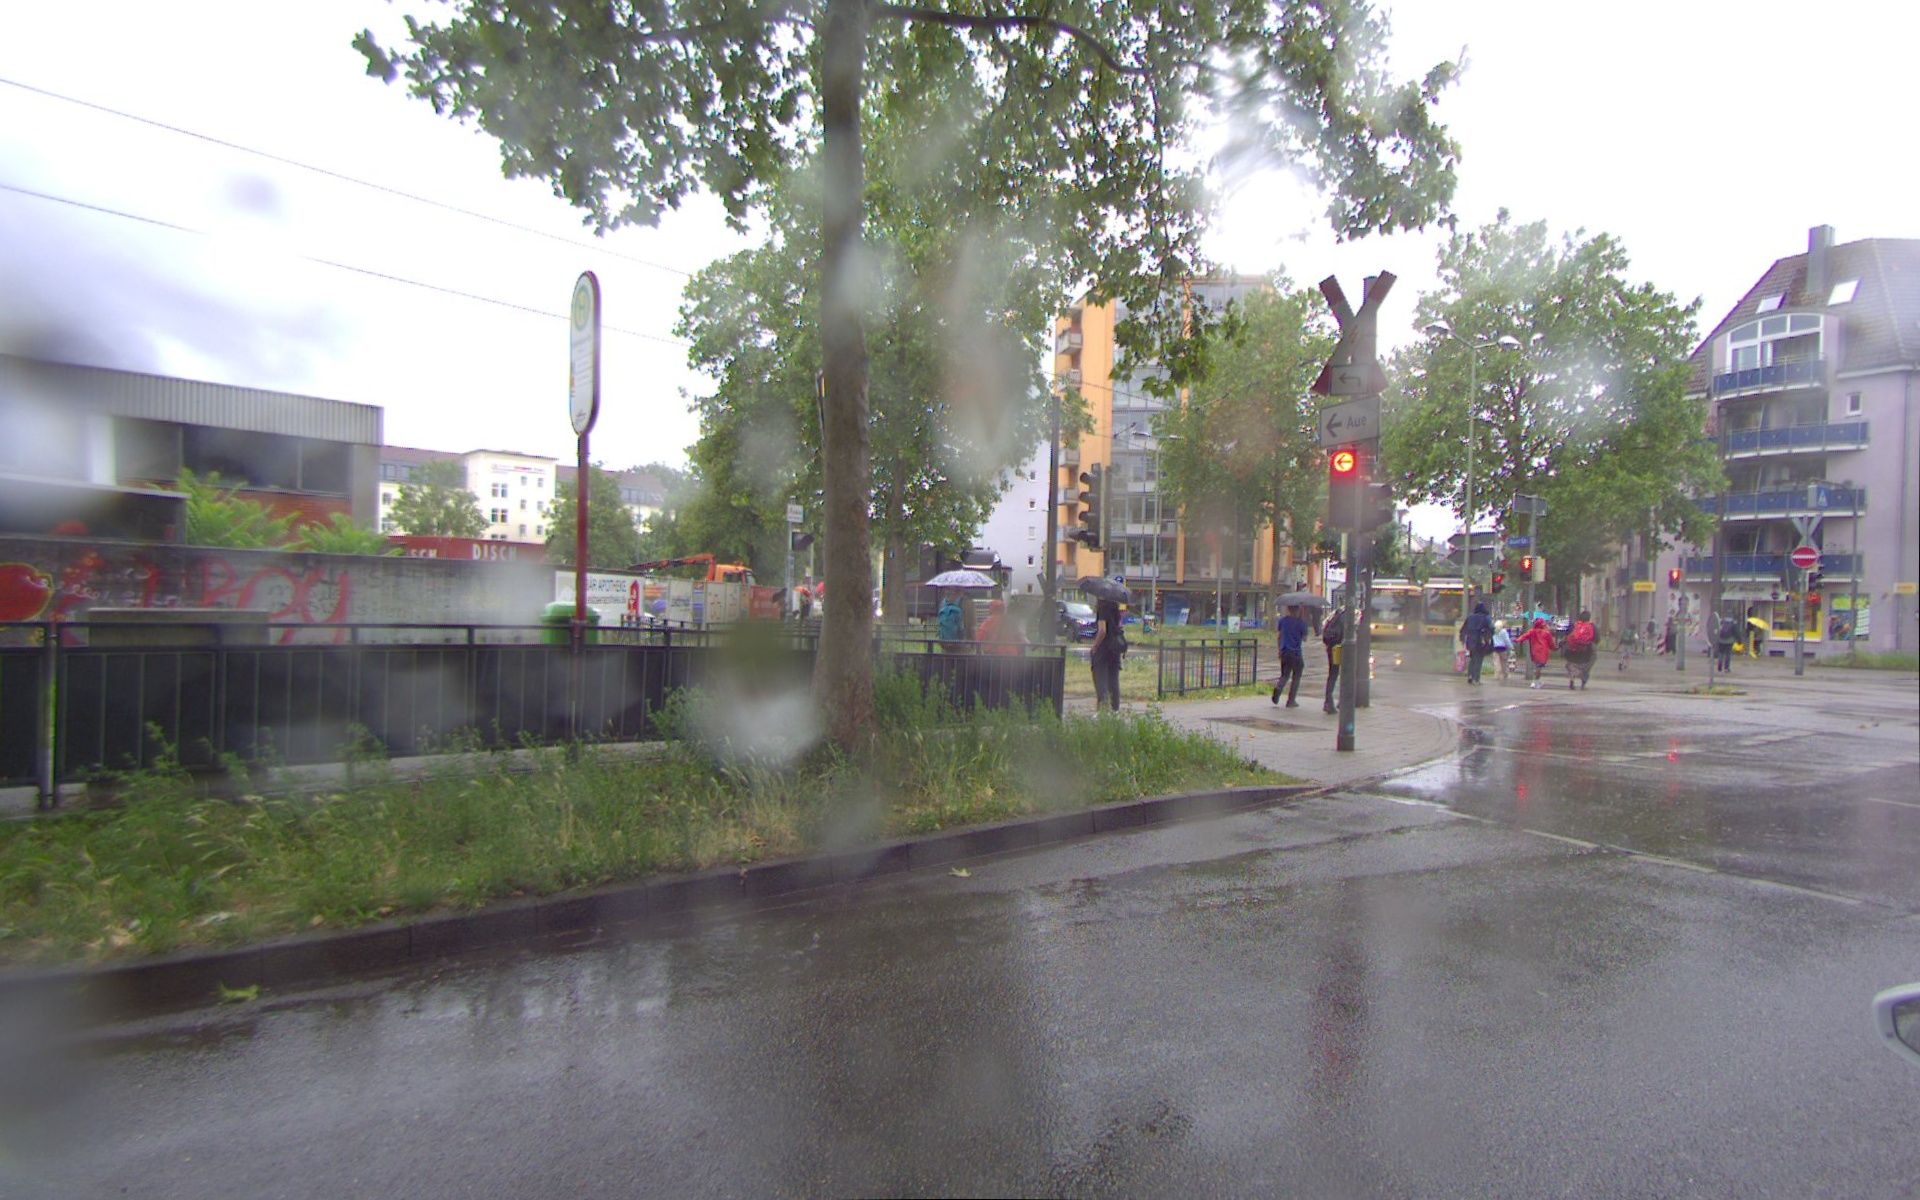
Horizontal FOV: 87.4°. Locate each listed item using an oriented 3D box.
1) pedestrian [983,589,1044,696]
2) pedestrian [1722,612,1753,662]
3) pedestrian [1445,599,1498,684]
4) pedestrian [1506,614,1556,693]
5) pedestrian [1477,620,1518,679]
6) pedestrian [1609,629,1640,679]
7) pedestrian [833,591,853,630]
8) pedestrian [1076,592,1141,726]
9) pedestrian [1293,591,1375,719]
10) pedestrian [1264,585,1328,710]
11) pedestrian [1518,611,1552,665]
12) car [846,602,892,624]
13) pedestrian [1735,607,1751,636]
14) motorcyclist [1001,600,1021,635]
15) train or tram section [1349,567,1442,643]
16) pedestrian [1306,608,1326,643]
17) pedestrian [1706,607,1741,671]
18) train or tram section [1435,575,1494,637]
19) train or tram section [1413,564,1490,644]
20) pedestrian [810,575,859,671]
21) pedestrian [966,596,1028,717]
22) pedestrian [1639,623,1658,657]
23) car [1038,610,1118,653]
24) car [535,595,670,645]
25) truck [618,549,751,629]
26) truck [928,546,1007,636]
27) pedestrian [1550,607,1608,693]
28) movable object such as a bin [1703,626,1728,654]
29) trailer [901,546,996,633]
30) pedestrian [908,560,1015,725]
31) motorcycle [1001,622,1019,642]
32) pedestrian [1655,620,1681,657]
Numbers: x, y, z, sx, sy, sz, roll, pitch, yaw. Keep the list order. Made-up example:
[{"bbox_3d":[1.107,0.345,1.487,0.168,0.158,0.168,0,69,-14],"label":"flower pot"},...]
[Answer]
[{"bbox_3d":[0.906,0.702,16.949,0.675,1.752,0.752,2,1,42],"label":"pedestrian"},{"bbox_3d":[34.592,1.637,44.695,0.879,2.179,0.901,2,0,-39],"label":"pedestrian"},{"bbox_3d":[10.600,0.854,20.851,0.823,1.721,0.689,-2,0,17],"label":"pedestrian"},{"bbox_3d":[11.495,1.060,20.227,0.653,1.540,0.676,1,0,-38],"label":"pedestrian"},{"bbox_3d":[12.866,1.176,24.029,0.704,1.367,0.650,1,1,-44],"label":"pedestrian"},{"bbox_3d":[19.445,1.579,29.415,0.638,1.414,0.782,1,0,26],"label":"pedestrian"},{"bbox_3d":[-5.853,0.534,50.234,0.765,1.891,0.940,2,0,4],"label":"pedestrian"},{"bbox_3d":[1.961,0.768,13.274,0.782,1.705,0.660,-2,0,8],"label":"pedestrian"},{"bbox_3d":[5.439,0.769,14.606,0.855,1.778,0.826,2,1,41],"label":"pedestrian"},{"bbox_3d":[5.249,0.720,15.756,0.854,1.889,0.892,1,0,16],"label":"pedestrian"},{"bbox_3d":[19.778,1.286,34.534,0.943,1.789,0.951,2,0,31],"label":"pedestrian"},{"bbox_3d":[-8.256,1.167,90.936,3.930,1.808,1.996,2,0,-12],"label":"car"},{"bbox_3d":[36.897,0.998,47.337,0.553,1.347,0.443,2,0,40],"label":"pedestrian"},{"bbox_3d":[2.405,0.807,47.043,0.765,1.635,0.774,2,0,-8],"label":"motorcyclist"},{"bbox_3d":[25.806,0.404,58.808,2.839,3.818,17.211,2,0,30],"label":"train or tram section"},{"bbox_3d":[18.798,1.340,53.023,0.941,1.789,0.952,2,0,20],"label":"pedestrian"},{"bbox_3d":[22.968,1.153,30.236,0.777,1.880,0.679,2,1,37],"label":"pedestrian"},{"bbox_3d":[33.015,0.440,65.428,2.817,3.593,13.693,2,0,29],"label":"train or tram section"},{"bbox_3d":[26.013,0.243,52.692,2.817,3.593,15.347,2,0,29],"label":"train or tram section"},{"bbox_3d":[-2.564,0.460,20.438,0.768,1.891,0.936,2,0,-18],"label":"pedestrian"},{"bbox_3d":[0.504,0.754,13.702,0.782,1.593,0.659,-2,0,2],"label":"pedestrian"},{"bbox_3d":[33.541,1.940,48.943,0.663,1.622,0.966,2,0,29],"label":"pedestrian"},{"bbox_3d":[4.678,1.236,40.437,1.585,1.551,4.017,1,1,-19],"label":"car"},{"bbox_3d":[-10.429,0.575,29.403,3.447,1.323,1.405,2,0,10],"label":"car"},{"bbox_3d":[-11.910,-0.456,43.618,5.383,3.205,2.164,2,0,-16],"label":"truck"},{"bbox_3d":[0.271,-0.391,46.058,2.593,3.842,4.444,2,0,-13],"label":"truck"},{"bbox_3d":[12.257,0.965,19.892,0.809,1.646,0.724,0,0,-37],"label":"pedestrian"},{"bbox_3d":[34.304,1.809,45.597,0.661,1.253,0.745,2,0,-37],"label":"movable object such as a bin"},{"bbox_3d":[-0.822,-0.466,50.748,2.593,3.899,10.114,2,0,-13],"label":"trailer"},{"bbox_3d":[0.038,0.493,11.945,0.966,1.851,1.077,-2,0,15],"label":"pedestrian"},{"bbox_3d":[2.337,1.489,47.026,0.435,0.853,1.545,2,0,-11],"label":"motorcycle"},{"bbox_3d":[30.320,1.631,43.036,0.738,1.553,0.791,2,0,25],"label":"pedestrian"}]
